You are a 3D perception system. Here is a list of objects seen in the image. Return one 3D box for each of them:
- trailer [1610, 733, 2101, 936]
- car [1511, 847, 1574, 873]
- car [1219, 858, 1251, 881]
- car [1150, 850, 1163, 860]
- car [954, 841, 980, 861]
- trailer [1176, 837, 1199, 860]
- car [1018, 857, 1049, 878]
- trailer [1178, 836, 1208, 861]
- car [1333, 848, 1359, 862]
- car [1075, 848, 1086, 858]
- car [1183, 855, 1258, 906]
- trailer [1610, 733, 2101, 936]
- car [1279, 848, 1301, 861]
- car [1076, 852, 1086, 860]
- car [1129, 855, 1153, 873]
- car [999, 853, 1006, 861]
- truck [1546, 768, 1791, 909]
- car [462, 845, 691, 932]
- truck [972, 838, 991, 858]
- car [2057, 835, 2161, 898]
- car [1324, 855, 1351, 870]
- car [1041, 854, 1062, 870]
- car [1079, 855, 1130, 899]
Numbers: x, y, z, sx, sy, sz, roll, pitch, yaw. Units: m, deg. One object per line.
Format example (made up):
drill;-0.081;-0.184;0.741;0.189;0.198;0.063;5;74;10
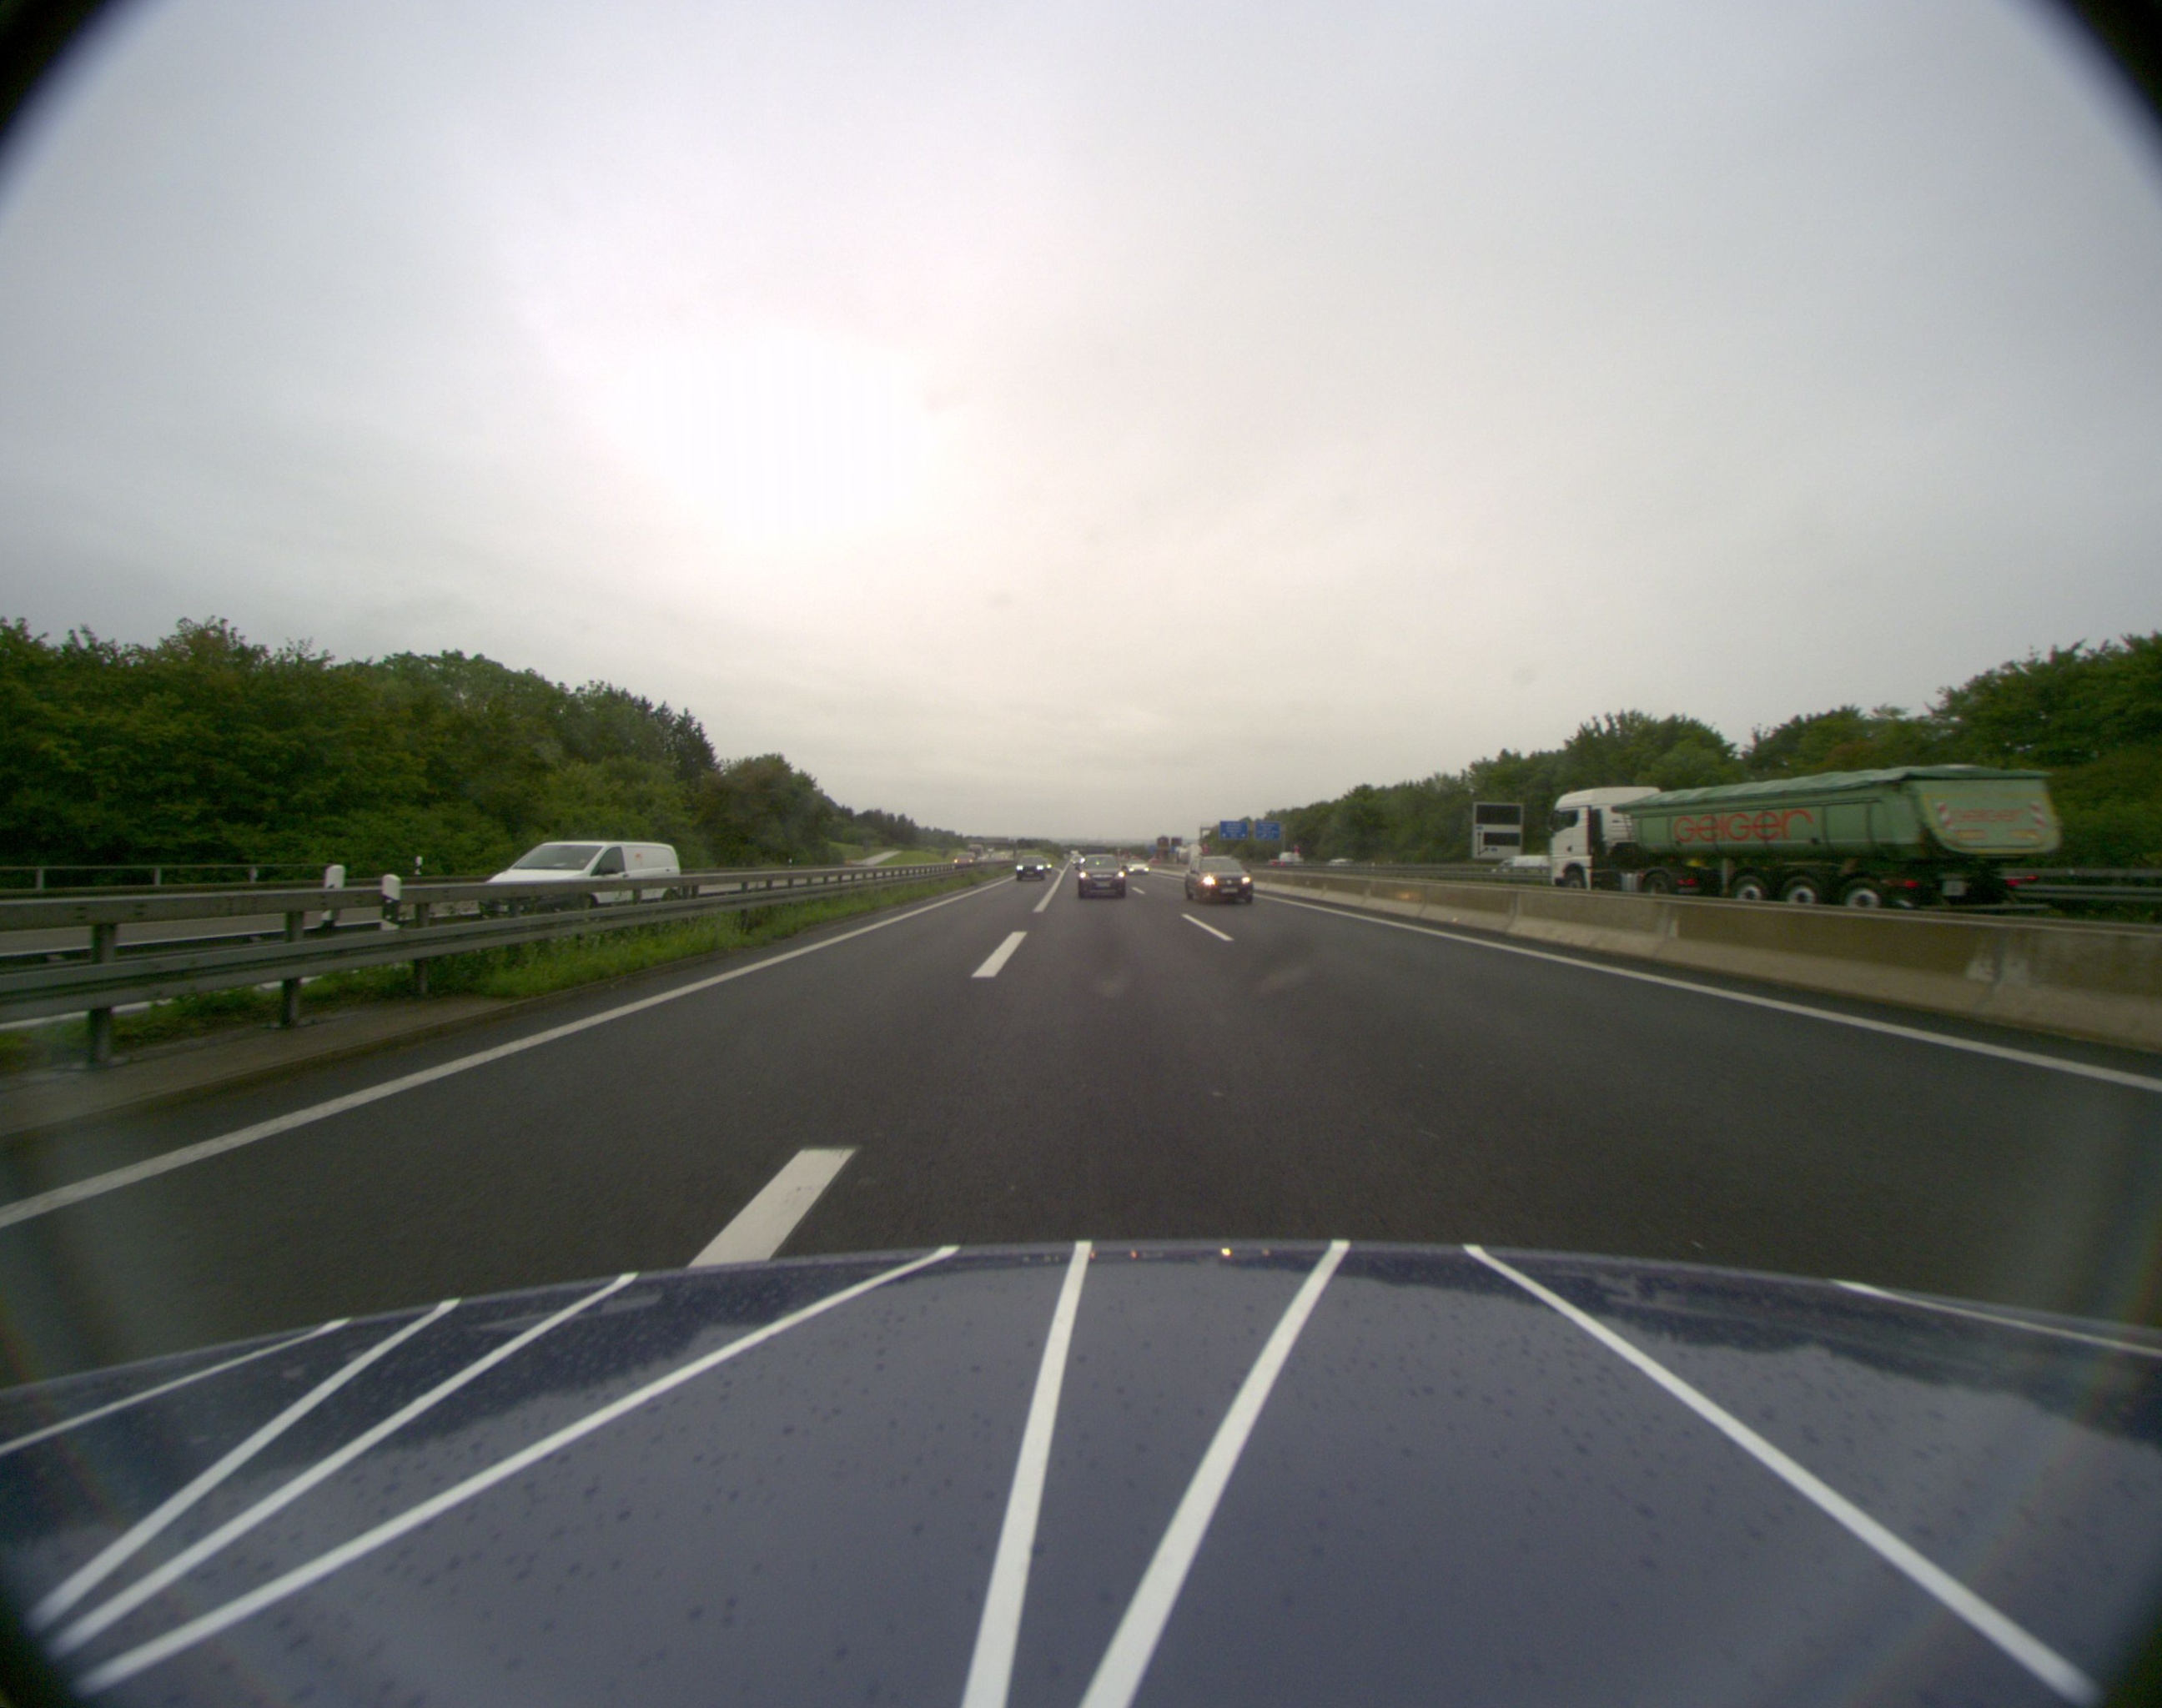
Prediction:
trailer;17.468;-0.399;18.568;2.910;3.727;8.926;-1;1;0
car;32.017;0.394;52.839;1.805;1.776;4.412;0;0;2
car;13.451;1.364;66.534;1.900;1.865;4.541;-1;1;0
car;12.687;0.156;128.167;1.813;1.571;4.355;-1;1;0
car;-12.252;-0.322;81.843;2.130;2.002;5.076;-1;1;-1
trailer;17.357;-0.925;124.426;2.643;3.694;6.490;-1;1;-2
car;-3.324;0.951;53.808;1.867;1.349;4.566;-1;1;0
trailer;17.541;-0.887;119.335;2.643;3.714;10.807;-1;1;-2
car;33.752;0.096;96.766;1.708;1.759;3.998;-1;1;-3
car;-0.134;-0.264;155.304;2.016;1.994;4.566;-1;1;-2
car;4.538;0.816;25.346;1.725;1.481;4.567;-1;1;1
trailer;17.468;-0.399;18.568;2.910;3.727;8.926;-1;1;0
car;31.882;0.068;116.126;1.878;2.002;5.298;-1;1;0
car;-0.006;0.403;149.401;1.919;1.481;4.566;-1;1;-2
car;5.252;0.869;66.934;1.726;1.481;4.566;-1;1;-1
car;-21.523;0.780;209.033;1.752;2.002;4.496;-1;1;-5
truck;17.479;-0.436;23.224;2.894;3.727;5.944;-1;1;0
car;-11.085;0.662;17.232;1.913;1.684;4.719;-1;1;2
truck;-20.287;-1.266;155.241;2.799;3.878;10.025;-1;1;-2
car;31.392;0.339;21.554;1.805;1.776;4.412;0;0;2
car;28.751;0.936;85.168;1.708;1.499;3.999;-1;1;0
car;-2.926;0.739;76.087;1.885;1.519;4.000;-1;1;1
car;0.866;0.839;29.766;1.813;1.571;3.834;-1;1;-1
